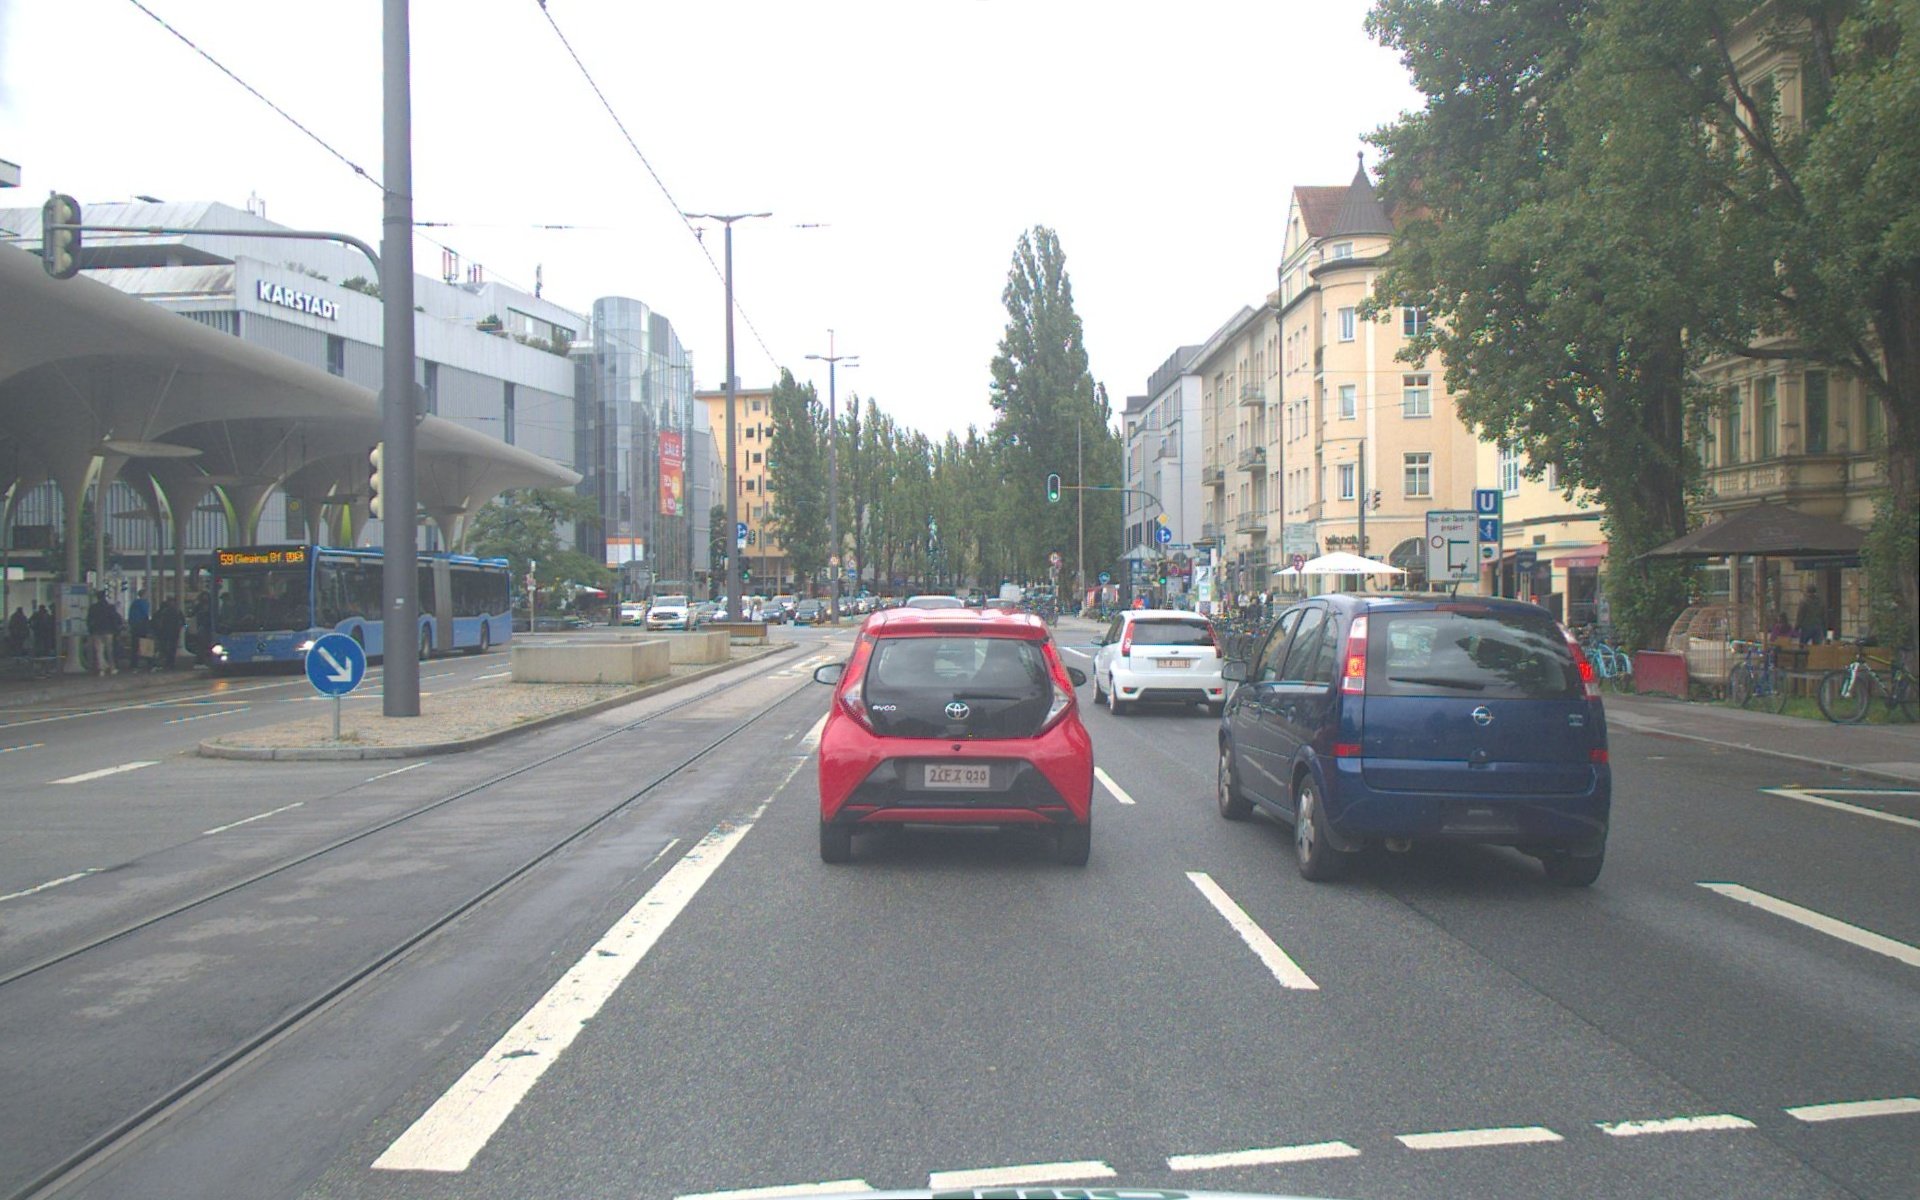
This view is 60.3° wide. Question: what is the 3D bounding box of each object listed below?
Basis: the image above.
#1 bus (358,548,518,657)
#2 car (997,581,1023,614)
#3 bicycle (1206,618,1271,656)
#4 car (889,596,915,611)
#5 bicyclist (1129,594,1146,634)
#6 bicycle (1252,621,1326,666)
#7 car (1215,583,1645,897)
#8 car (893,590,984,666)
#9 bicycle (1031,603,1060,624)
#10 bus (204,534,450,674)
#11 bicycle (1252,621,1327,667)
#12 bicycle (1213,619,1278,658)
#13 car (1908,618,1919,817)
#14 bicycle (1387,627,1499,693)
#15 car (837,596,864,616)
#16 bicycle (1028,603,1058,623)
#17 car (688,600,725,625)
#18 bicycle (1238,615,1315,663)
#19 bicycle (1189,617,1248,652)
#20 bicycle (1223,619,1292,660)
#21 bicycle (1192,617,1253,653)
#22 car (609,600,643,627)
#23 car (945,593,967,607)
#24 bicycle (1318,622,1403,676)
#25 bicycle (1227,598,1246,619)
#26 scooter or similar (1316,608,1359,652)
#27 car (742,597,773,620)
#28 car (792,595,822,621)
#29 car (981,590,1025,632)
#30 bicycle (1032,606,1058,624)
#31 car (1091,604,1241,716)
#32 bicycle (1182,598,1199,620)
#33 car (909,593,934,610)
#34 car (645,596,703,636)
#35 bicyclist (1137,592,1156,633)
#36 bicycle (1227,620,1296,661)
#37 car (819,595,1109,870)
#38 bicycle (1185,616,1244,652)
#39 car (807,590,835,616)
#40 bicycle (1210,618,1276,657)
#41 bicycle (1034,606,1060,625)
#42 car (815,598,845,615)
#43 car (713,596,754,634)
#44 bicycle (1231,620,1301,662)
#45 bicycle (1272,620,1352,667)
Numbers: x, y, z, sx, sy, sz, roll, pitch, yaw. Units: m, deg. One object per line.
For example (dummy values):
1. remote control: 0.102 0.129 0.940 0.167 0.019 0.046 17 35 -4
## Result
1. bus: -16.108 0.070 51.634 2.606 3.060 7.512 -2 0 -1
2. car: 4.280 -0.207 141.153 2.063 2.766 4.804 -1 0 0
3. bicycle: 7.627 1.016 45.364 1.807 1.013 0.346 -2 -1 39
4. car: -6.135 0.336 175.858 1.951 1.561 4.591 -1 0 9
5. bicyclist: 7.755 0.607 72.157 0.601 1.686 1.251 -1 0 0
6. bicycle: 7.896 1.031 39.748 1.808 1.013 0.323 1 2 40
7. car: 2.737 0.732 10.437 1.668 1.617 3.556 1 0 0
8. car: -0.505 0.604 38.101 1.953 1.646 3.999 -1 0 -1
9. bicycle: 4.931 0.780 95.473 1.773 1.219 0.555 0 0 43
10. bus: -15.926 0.086 42.641 2.607 3.060 10.510 -2 0 -2
11. bicycle: 7.793 1.029 39.170 1.808 1.013 0.323 1 2 40
12. bicycle: 7.597 1.017 44.045 1.810 1.013 0.346 -2 -1 44
13. car: 8.165 0.862 10.137 1.954 1.465 4.527 -1 0 -3
14. bicycle: 8.138 0.995 27.911 1.806 1.013 0.373 1 1 38
15. car: -9.825 0.505 148.210 1.706 1.699 4.735 -1 0 5
16. bicycle: 4.859 0.764 96.865 1.770 1.178 0.546 0 0 38
17. car: -15.030 0.739 98.254 1.639 1.403 4.611 -1 0 -2
18. bicycle: 7.744 0.956 40.499 1.803 1.132 0.466 -1 0 32
19. bicycle: 7.522 1.009 48.195 1.810 1.013 0.346 -2 -1 43
20. bicycle: 7.657 1.021 42.639 1.807 1.013 0.346 -2 -1 40
21. bicycle: 7.536 1.010 47.508 1.807 1.013 0.346 -2 -1 39
22. car: -21.506 0.859 106.370 1.959 1.563 4.400 -2 1 -13
23. car: -0.544 -0.043 210.428 1.951 1.758 3.920 -1 0 13
24. bicycle: 8.141 0.988 33.696 0.322 1.013 1.813 -1 2 -43
25. bicycle: 14.293 0.442 85.548 0.485 1.077 1.864 -1 0 -5
26. scooter or similar: 9.760 0.768 42.784 0.760 1.094 1.256 -1 0 -2
27. car: -12.693 0.535 103.836 1.644 1.420 4.230 -1 0 -3
28. car: -9.215 0.470 99.570 1.517 1.471 3.531 -1 0 -10
29. car: 1.998 0.504 77.917 1.953 1.870 3.999 -1 0 -1
30. bicycle: 4.858 0.863 94.812 0.495 1.046 1.576 -1 0 -42
31. car: 2.948 0.821 24.310 1.665 1.451 3.496 2 0 -1
32. bicycle: 11.890 0.462 85.398 0.555 1.127 1.866 -1 0 -1
33. car: -4.298 0.160 185.487 1.952 1.721 4.925 4 1 6
34. car: -14.484 0.767 84.107 2.131 1.920 6.153 -1 0 -3
35. bicyclist: 8.642 0.578 76.690 0.747 1.902 1.133 -1 0 0
36. bicycle: 7.642 1.021 41.973 1.810 1.013 0.345 -2 -1 44
37. car: 0.032 0.720 10.609 1.572 1.487 3.130 -1 0 0
38. bicycle: 7.513 1.008 48.861 1.810 1.013 0.346 -2 -1 43
39. car: -8.793 0.166 104.357 1.476 1.561 2.831 -2 1 -9
40. bicycle: 7.638 1.017 44.709 1.807 1.013 0.346 -2 -1 39
41. bicycle: 4.942 0.869 93.957 0.495 1.046 1.576 -1 0 -42
42. car: -10.989 0.532 139.965 1.952 1.436 4.169 -1 0 3
43. car: -11.990 0.776 87.643 1.750 1.887 4.215 -2 0 -3
44. bicycle: 7.609 1.021 41.198 1.810 1.013 0.323 -1 0 44
45. bicycle: 7.974 0.978 37.541 1.805 1.013 0.324 1 1 36
